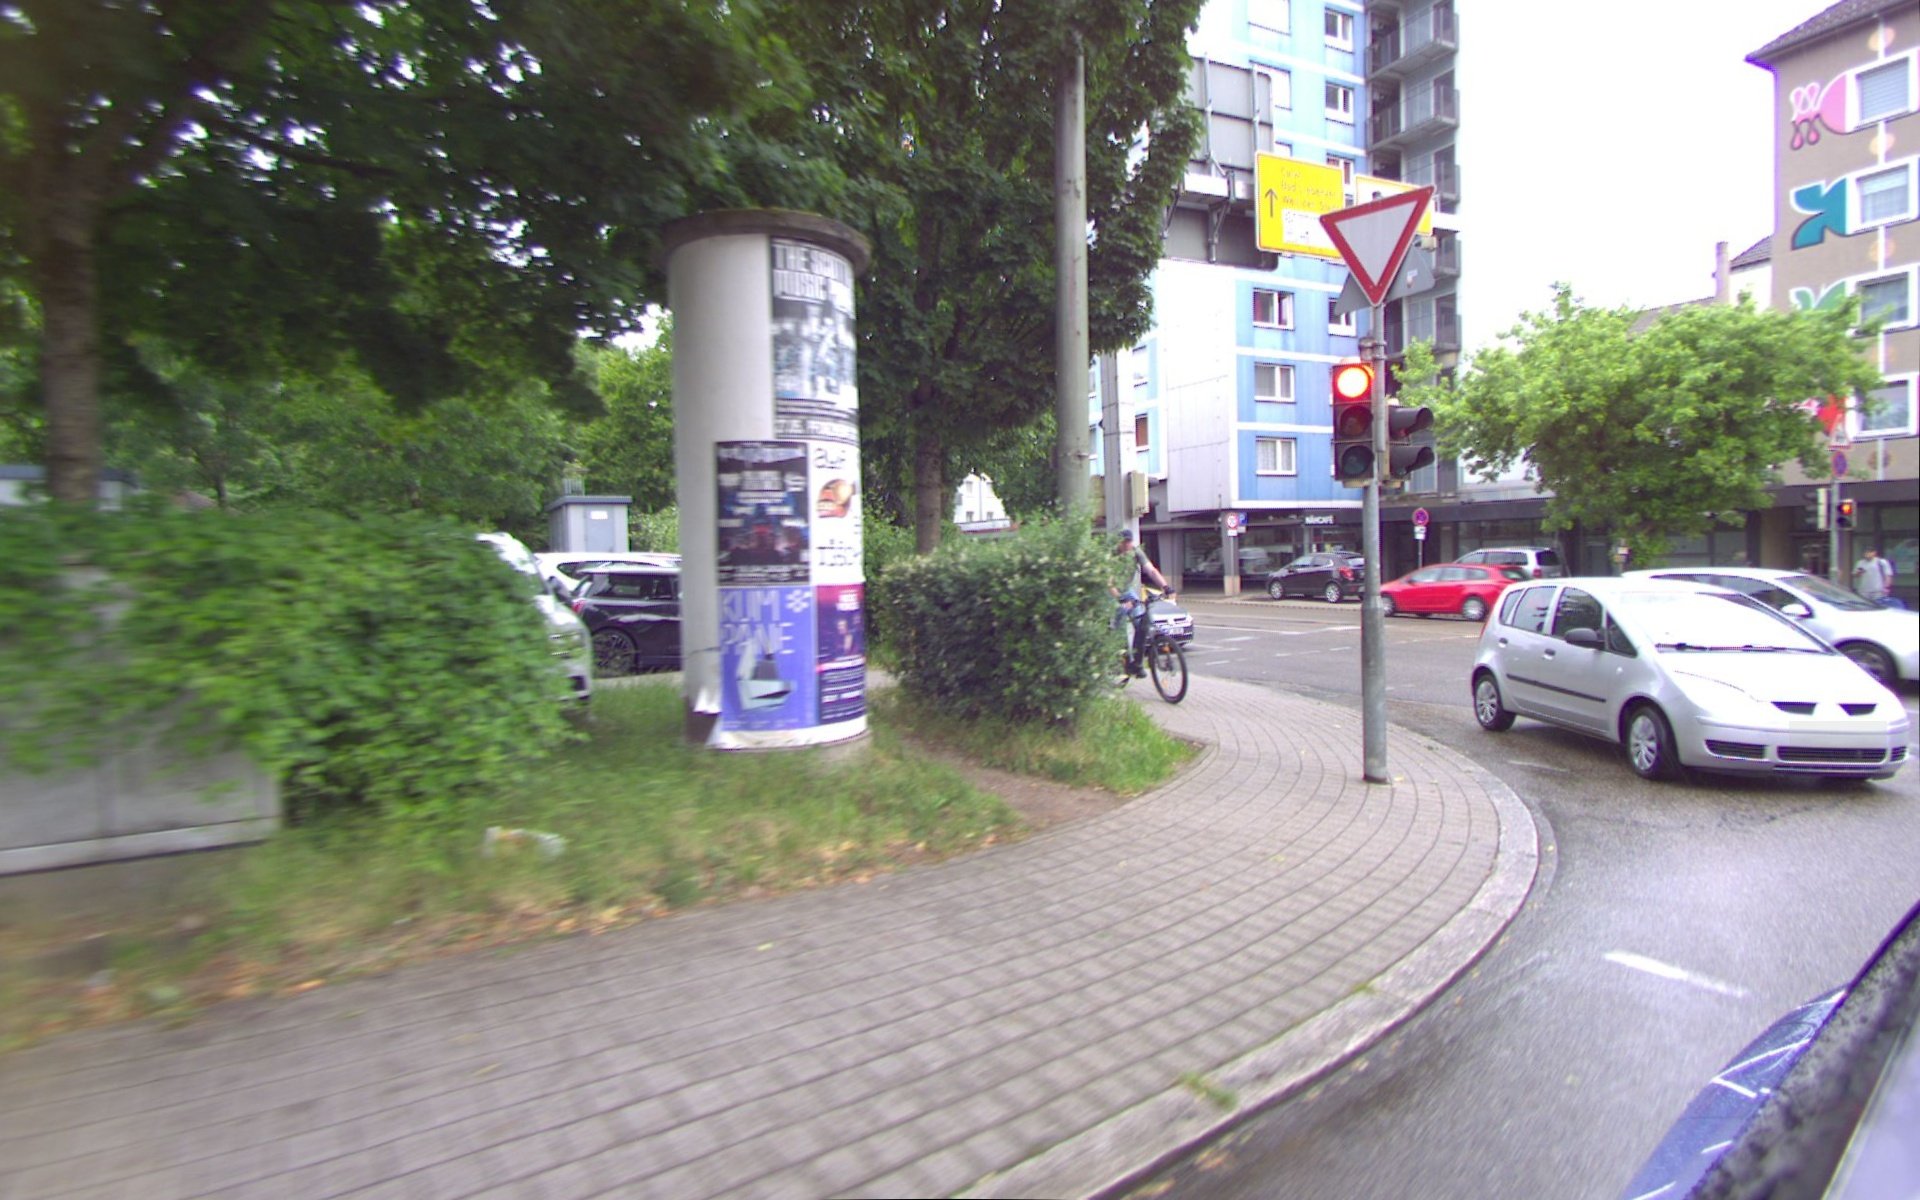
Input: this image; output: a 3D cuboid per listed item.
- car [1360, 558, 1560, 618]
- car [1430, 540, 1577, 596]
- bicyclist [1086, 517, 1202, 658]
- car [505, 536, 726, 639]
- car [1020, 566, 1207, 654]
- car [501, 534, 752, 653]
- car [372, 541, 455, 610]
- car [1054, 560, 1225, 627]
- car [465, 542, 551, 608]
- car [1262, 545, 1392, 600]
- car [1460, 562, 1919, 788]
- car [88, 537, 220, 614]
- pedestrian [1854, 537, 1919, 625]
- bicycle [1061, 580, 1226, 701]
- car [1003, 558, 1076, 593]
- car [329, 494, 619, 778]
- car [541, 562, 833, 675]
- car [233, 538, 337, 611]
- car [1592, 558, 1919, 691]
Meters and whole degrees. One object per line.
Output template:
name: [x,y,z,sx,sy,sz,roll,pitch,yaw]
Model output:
car: [12.988,-0.389,26.601,1.673,1.441,4.590,-1,3,-28]
car: [18.202,-1.131,34.092,1.618,1.685,4.194,-4,5,-28]
bicyclist: [2.068,-0.139,11.473,0.870,1.508,0.971,2,1,-19]
car: [-6.228,-0.250,18.299,3.625,1.717,1.640,-1,1,-25]
car: [3.028,0.127,20.994,1.653,1.523,4.511,-4,3,-23]
car: [-5.309,-0.133,16.126,3.625,1.717,1.640,-1,1,-25]
car: [-14.211,-0.664,26.315,1.764,1.630,4.006,-1,2,-29]
car: [4.545,-0.243,26.412,1.952,1.458,4.589,-5,4,-28]
car: [-12.212,-0.709,27.223,1.764,1.630,4.006,-1,2,-29]
car: [12.511,-1.011,34.771,1.618,1.685,4.194,-4,5,-28]
car: [6.095,0.471,8.828,1.657,1.523,3.837,-1,1,2]
car: [-18.763,-0.601,23.749,1.764,1.630,4.006,-1,2,-29]
pedestrian: [19.370,-0.408,21.044,0.801,1.795,0.905,-1,2,-28]
bicycle: [2.019,0.412,11.525,0.870,1.202,2.138,2,1,-19]
car: [3.530,-1.117,45.313,1.673,1.502,3.447,-2,2,-28]
car: [-4.062,0.174,8.069,1.605,1.642,4.215,1,1,-32]
car: [-3.765,0.182,14.035,3.628,1.382,1.639,-1,1,-29]
car: [-16.333,-0.652,24.663,1.764,1.630,4.006,-1,2,-29]
car: [10.713,0.203,13.080,1.654,1.442,4.043,-3,3,-28]
